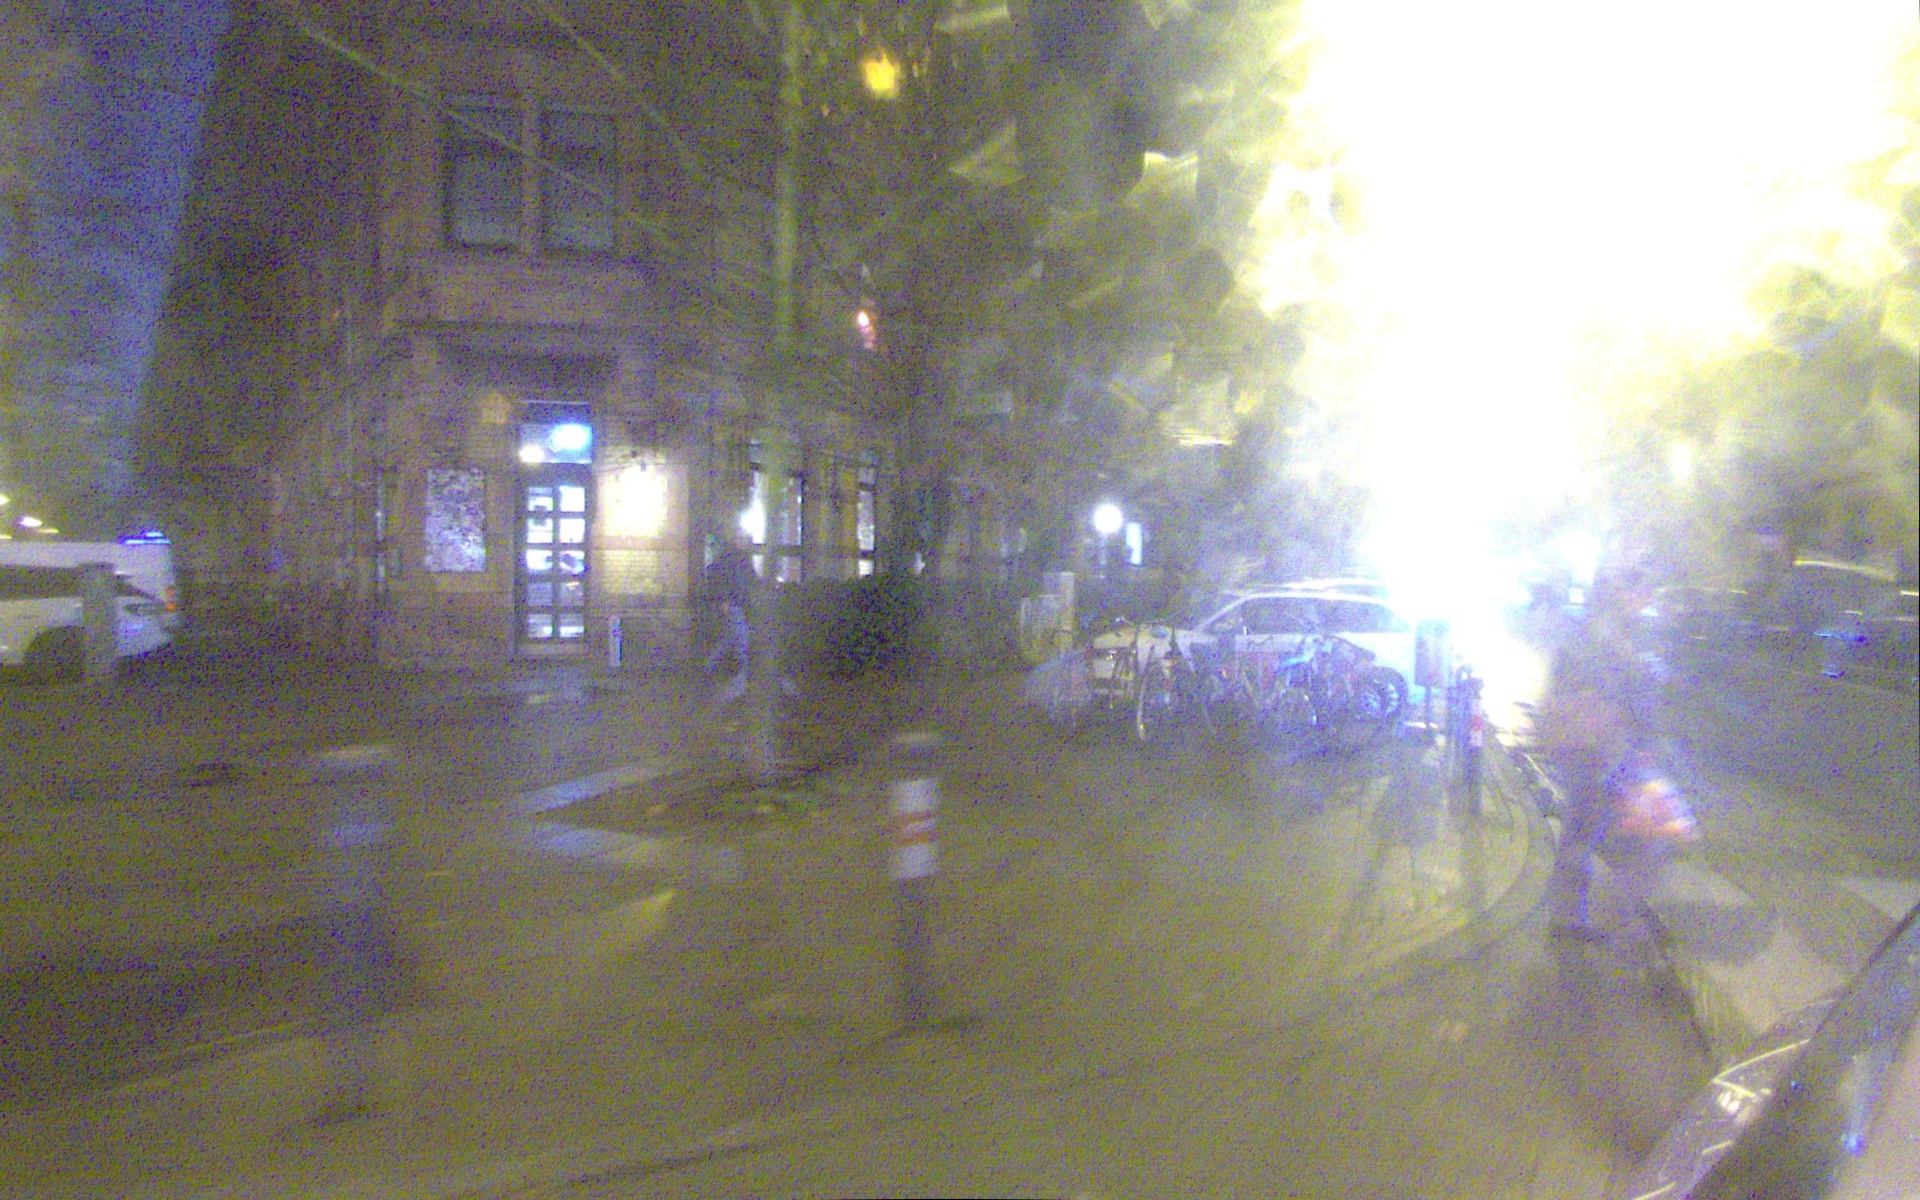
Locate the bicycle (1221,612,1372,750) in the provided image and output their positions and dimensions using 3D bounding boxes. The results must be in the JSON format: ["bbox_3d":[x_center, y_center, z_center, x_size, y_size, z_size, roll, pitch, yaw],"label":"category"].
[{"bbox_3d":[3.049,0.697,9.339,0.329,1.039,1.651,1,3,-20],"label":"bicycle"}]

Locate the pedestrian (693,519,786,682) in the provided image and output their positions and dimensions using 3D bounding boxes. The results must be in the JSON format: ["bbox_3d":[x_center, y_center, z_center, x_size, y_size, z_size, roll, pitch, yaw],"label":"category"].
[{"bbox_3d":[-2.613,-0.022,11.993,0.796,1.839,0.790,-2,3,-40],"label":"pedestrian"}]

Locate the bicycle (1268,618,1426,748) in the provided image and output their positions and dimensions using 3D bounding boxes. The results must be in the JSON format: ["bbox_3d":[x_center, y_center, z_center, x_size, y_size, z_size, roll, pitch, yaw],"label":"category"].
[{"bbox_3d":[3.572,0.725,9.486,0.329,1.039,1.650,1,1,-22],"label":"bicycle"}]

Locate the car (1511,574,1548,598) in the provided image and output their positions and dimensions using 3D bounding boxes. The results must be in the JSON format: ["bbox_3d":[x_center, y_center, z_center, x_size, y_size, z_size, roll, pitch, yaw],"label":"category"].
[{"bbox_3d":[38.967,-0.987,69.280,1.833,1.600,3.705,-1,1,24],"label":"car"}]

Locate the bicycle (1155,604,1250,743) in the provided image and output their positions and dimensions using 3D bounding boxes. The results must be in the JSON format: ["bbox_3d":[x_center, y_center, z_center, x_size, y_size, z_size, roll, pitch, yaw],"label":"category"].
[{"bbox_3d":[2.234,0.634,9.473,0.329,1.038,1.650,0,5,-5],"label":"bicycle"}]

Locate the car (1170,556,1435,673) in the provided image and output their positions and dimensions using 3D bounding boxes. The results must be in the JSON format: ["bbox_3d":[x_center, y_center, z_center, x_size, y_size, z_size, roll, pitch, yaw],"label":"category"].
[{"bbox_3d":[5.608,0.212,16.790,3.715,1.733,1.752,2,2,-10],"label":"car"}]

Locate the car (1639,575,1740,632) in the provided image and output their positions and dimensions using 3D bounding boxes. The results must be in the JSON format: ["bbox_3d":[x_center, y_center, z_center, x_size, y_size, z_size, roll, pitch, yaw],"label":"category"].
[{"bbox_3d":[20.703,0.063,28.864,1.704,1.497,3.752,-1,1,26],"label":"car"}]

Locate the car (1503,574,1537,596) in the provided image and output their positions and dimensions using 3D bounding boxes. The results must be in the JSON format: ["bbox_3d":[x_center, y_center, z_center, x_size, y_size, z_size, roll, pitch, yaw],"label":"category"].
[{"bbox_3d":[41.404,-1.114,74.905,1.833,1.600,3.705,-1,1,24],"label":"car"}]

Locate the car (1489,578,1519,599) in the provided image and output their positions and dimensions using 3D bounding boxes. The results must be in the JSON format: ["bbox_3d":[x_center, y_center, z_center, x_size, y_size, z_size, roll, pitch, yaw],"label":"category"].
[{"bbox_3d":[43.795,-0.932,81.514,1.833,1.600,3.705,-1,1,24],"label":"car"}]

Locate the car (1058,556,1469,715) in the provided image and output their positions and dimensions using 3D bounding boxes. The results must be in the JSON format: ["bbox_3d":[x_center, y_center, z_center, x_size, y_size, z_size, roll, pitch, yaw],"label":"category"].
[{"bbox_3d":[3.391,0.362,11.845,4.179,1.593,1.774,2,2,-3],"label":"car"}]

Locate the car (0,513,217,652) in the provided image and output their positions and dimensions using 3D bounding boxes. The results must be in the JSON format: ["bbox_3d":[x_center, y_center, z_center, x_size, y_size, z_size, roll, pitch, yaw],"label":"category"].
[{"bbox_3d":[-14.105,-0.247,14.451,5.454,1.913,1.996,-1,1,-43],"label":"car"}]

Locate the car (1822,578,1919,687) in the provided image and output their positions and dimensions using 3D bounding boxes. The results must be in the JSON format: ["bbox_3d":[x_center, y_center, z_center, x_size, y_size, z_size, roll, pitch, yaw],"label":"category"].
[{"bbox_3d":[14.511,0.434,14.587,1.833,1.497,4.989,0,1,24],"label":"car"}]

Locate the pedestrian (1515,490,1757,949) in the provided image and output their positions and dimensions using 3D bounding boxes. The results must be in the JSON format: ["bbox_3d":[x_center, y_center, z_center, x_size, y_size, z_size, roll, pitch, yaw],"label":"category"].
[{"bbox_3d":[2.951,0.462,4.441,0.824,1.793,0.592,0,0,37],"label":"pedestrian"}]

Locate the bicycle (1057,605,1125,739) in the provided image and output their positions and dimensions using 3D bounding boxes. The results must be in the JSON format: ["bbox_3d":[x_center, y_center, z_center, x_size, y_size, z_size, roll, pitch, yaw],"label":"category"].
[{"bbox_3d":[1.188,0.617,9.389,0.329,1.039,1.647,2,2,-2],"label":"bicycle"}]

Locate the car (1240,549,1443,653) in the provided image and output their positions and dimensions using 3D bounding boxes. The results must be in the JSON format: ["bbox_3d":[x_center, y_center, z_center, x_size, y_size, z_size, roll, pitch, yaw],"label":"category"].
[{"bbox_3d":[8.222,0.005,21.947,3.662,2.053,1.725,2,2,-10],"label":"car"}]

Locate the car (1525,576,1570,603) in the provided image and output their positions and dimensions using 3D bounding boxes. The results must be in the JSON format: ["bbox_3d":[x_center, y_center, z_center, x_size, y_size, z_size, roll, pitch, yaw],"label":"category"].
[{"bbox_3d":[34.056,-0.624,58.750,1.833,1.497,3.705,-1,1,24],"label":"car"}]

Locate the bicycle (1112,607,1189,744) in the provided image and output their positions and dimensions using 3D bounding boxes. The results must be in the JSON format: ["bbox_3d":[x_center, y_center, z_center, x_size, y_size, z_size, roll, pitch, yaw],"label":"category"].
[{"bbox_3d":[1.737,0.648,9.396,0.329,1.106,1.647,2,1,-2],"label":"bicycle"}]

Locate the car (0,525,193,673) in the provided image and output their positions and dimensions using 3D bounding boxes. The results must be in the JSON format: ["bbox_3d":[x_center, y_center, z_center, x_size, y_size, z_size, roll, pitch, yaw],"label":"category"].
[{"bbox_3d":[-12.703,-0.005,12.490,5.011,1.784,1.996,-1,1,-43],"label":"car"}]

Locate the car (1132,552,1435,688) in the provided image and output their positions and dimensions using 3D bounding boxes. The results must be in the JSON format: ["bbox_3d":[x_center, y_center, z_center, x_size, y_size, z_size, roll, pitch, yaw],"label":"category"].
[{"bbox_3d":[4.543,0.252,14.489,3.662,1.733,1.775,2,2,-10],"label":"car"}]

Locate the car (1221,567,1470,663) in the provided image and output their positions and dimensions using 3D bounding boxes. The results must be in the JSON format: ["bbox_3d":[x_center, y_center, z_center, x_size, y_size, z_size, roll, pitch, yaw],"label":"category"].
[{"bbox_3d":[7.325,0.249,19.492,3.993,1.617,1.836,2,2,-3],"label":"car"}]

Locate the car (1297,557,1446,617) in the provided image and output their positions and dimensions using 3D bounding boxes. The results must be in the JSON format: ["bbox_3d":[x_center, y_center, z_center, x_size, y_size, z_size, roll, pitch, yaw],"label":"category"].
[{"bbox_3d":[15.206,-0.494,37.537,4.618,2.004,1.982,2,2,-4],"label":"car"}]

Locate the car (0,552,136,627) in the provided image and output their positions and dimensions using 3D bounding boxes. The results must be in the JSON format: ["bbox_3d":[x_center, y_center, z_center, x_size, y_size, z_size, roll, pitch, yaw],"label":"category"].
[{"bbox_3d":[-23.217,-0.262,24.969,4.388,1.784,1.996,-1,1,-43],"label":"car"}]

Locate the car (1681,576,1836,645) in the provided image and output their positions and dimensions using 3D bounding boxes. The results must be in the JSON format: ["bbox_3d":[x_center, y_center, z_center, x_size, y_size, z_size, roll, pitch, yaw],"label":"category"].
[{"bbox_3d":[18.739,0.174,23.970,1.701,1.497,4.131,0,1,21],"label":"car"}]
